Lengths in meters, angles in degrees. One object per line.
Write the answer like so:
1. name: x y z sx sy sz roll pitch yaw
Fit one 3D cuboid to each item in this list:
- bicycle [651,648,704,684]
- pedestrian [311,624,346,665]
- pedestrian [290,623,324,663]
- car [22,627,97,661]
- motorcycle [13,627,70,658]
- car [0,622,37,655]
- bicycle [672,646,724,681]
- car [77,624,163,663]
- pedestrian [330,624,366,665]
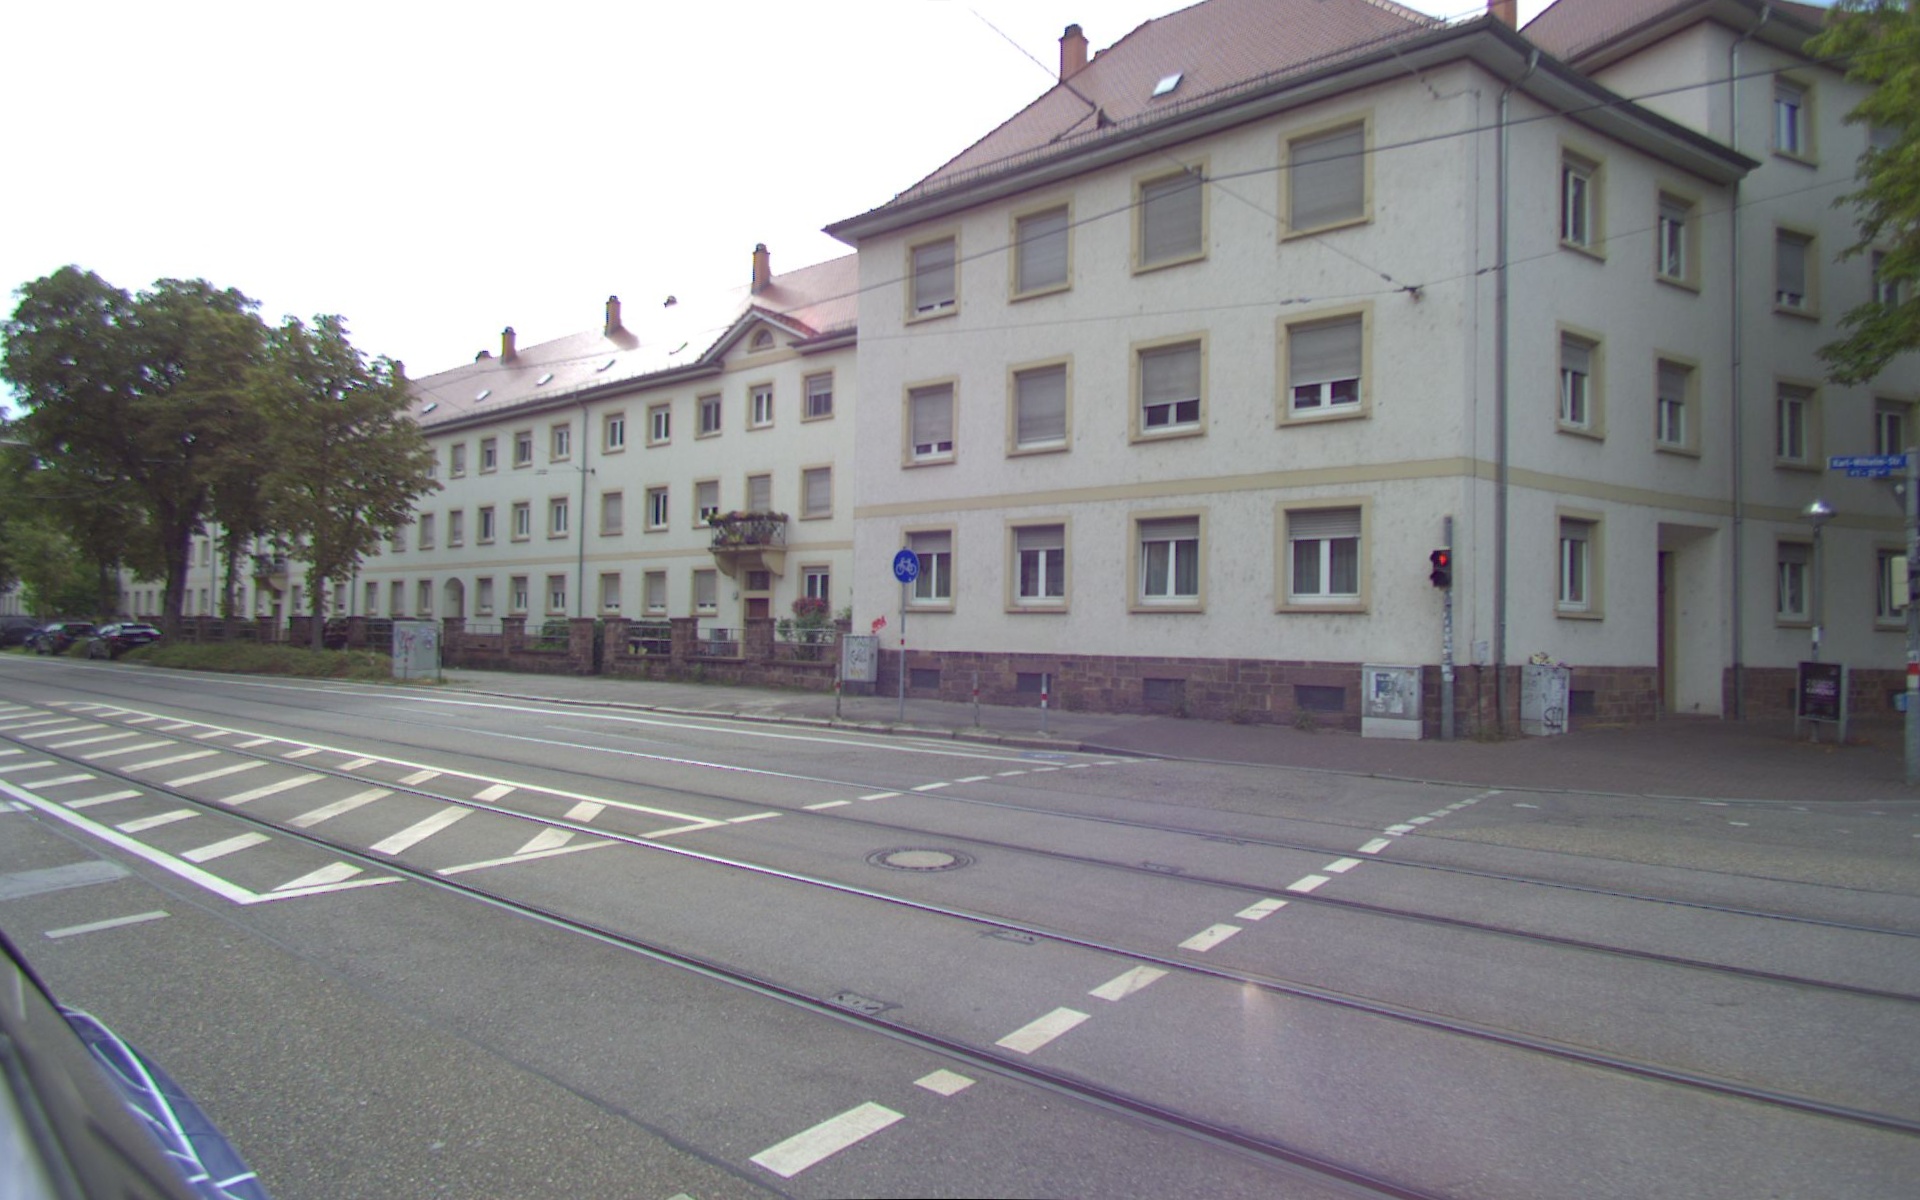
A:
1. bicycle: -7.667 1.786 27.446 1.669 0.922 0.473 -1 -3 37
2. pedestrian: -23.349 1.635 37.408 0.730 1.476 0.826 -1 -3 32
3. pedestrian: -24.824 1.634 38.484 0.730 1.524 0.826 -1 -3 32
4. car: -40.123 1.908 45.069 4.292 1.434 1.681 -1 -2 37
5. motorcycle: -43.108 1.987 47.517 0.590 1.269 1.852 -1 2 33
6. car: -49.214 1.953 52.052 4.292 1.624 1.769 -1 -3 37
7. bicycle: -7.375 1.778 28.433 1.669 0.922 0.473 -1 -3 37
8. car: -33.606 1.690 40.459 4.292 1.434 1.681 -1 0 37
9. pedestrian: -22.191 1.613 36.684 0.730 1.476 0.826 -1 -3 32
